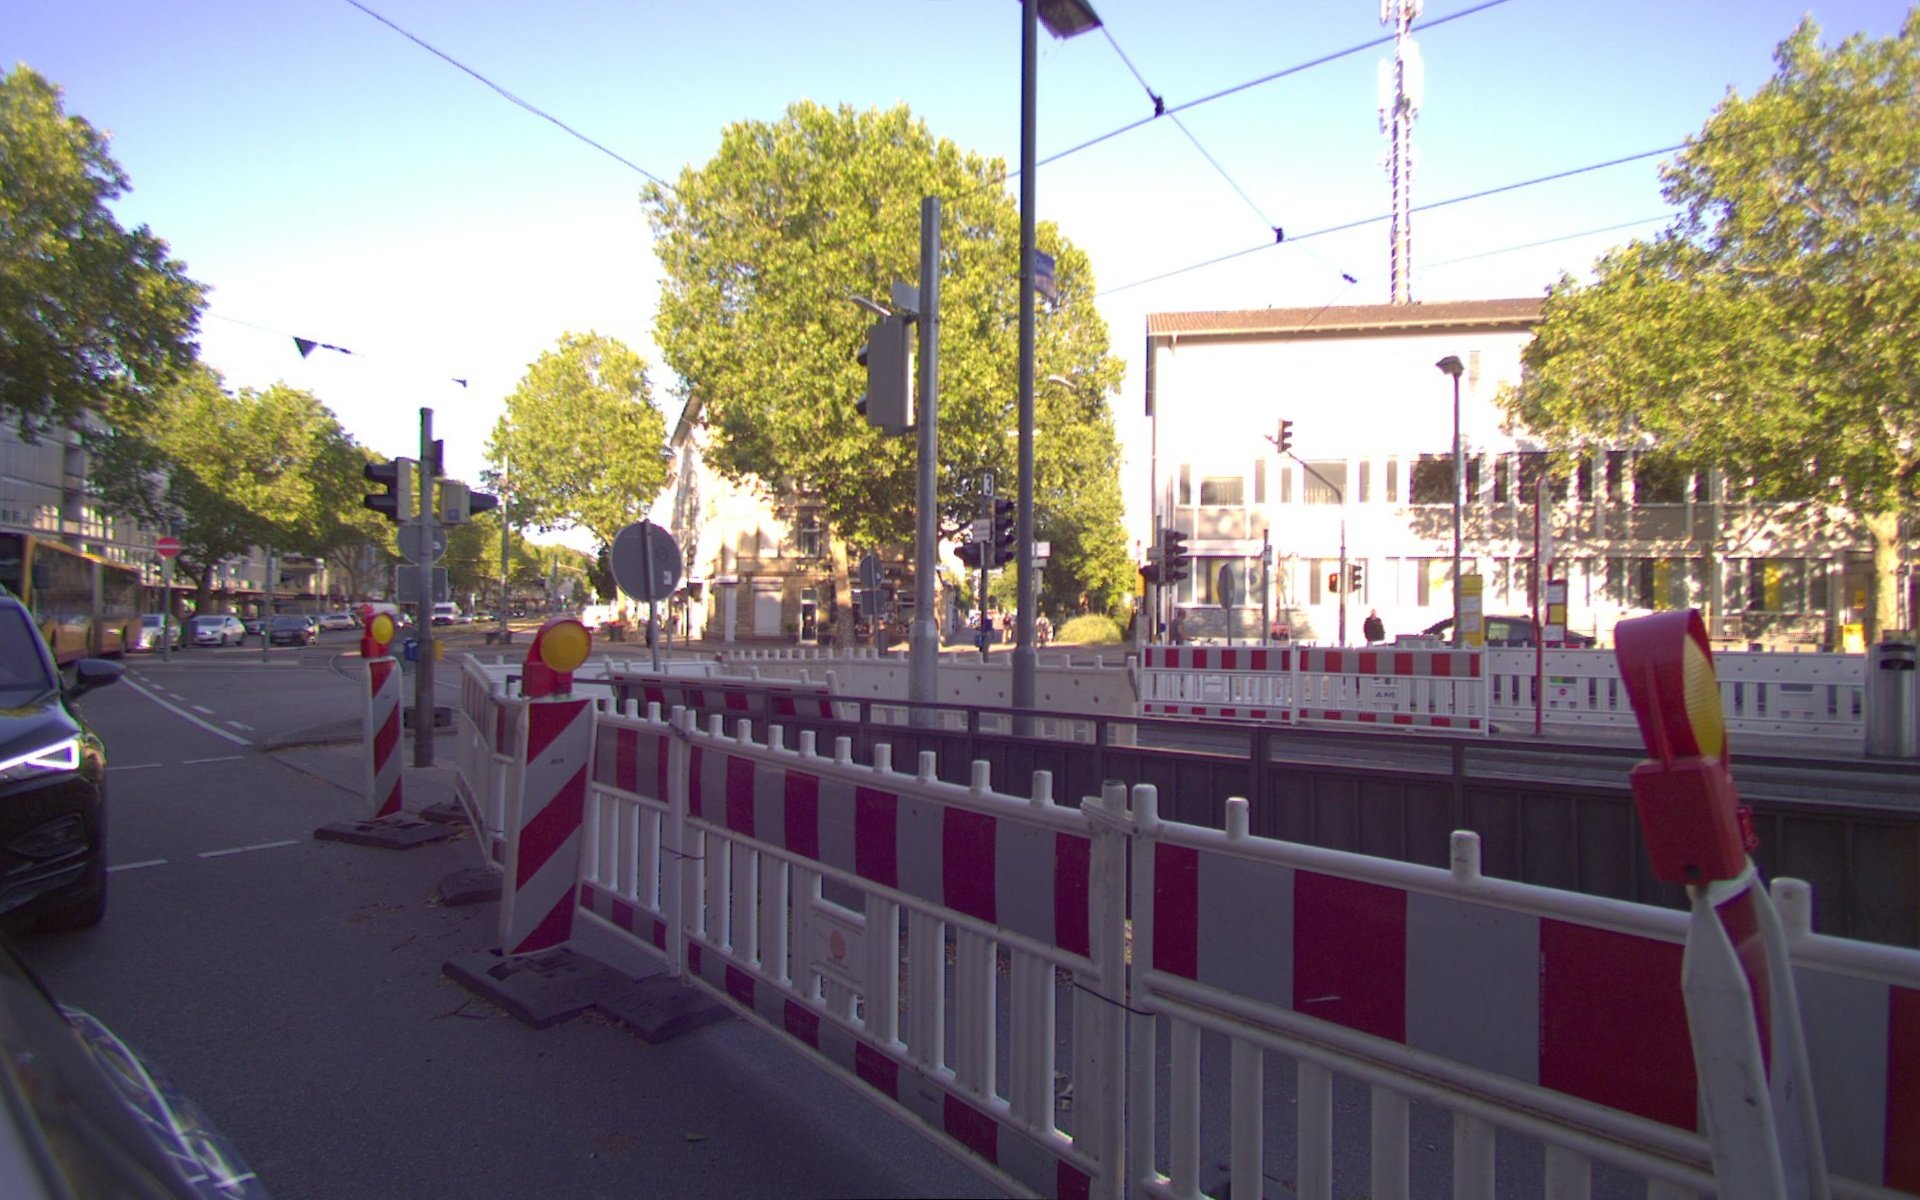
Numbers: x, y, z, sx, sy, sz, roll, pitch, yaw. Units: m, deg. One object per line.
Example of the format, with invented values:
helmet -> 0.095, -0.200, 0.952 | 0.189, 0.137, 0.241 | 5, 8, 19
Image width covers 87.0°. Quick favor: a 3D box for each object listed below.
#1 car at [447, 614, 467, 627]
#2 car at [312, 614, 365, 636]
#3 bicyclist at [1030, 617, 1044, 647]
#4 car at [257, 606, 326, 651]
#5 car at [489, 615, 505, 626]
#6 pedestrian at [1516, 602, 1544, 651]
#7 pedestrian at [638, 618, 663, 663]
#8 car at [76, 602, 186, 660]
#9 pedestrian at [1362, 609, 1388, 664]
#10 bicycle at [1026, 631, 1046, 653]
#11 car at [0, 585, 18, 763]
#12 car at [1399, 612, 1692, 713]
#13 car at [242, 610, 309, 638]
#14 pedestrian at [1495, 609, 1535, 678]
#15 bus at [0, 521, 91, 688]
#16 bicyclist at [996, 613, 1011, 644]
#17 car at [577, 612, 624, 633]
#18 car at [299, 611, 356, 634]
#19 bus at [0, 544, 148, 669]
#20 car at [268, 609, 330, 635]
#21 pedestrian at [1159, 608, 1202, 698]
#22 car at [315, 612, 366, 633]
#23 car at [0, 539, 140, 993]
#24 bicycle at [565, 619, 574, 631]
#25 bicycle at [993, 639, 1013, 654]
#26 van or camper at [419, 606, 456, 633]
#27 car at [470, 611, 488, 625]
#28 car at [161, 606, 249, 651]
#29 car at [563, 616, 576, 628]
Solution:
car -> -61.559, 2.514, 123.897 | 1.675, 1.481, 3.776 | 1, -2, -19
car -> -58.002, 2.365, 94.482 | 3.938, 2.029, 2.002 | 1, -2, -42
bicyclist -> 3.882, 1.615, 51.211 | 0.570, 1.538, 0.842 | 0, -1, 13
car -> -31.668, 1.336, 48.057 | 1.965, 2.029, 4.013 | 1, -1, -22
car -> -74.472, 3.308, 162.846 | 1.809, 1.816, 4.143 | 1, -2, -19
pedestrian -> 17.059, 0.787, 30.318 | 0.580, 1.466, 0.584 | 0, -1, 14
pedestrian -> -10.662, 1.390, 34.869 | 0.594, 1.545, 0.746 | 1, -2, -38
car -> -30.885, 1.139, 37.838 | 1.965, 2.029, 4.111 | 1, -1, -21
pedestrian -> 12.117, 1.056, 29.519 | 0.649, 1.564, 0.563 | -1, -2, 28
bicycle -> 3.870, 2.116, 51.253 | 0.671, 1.039, 2.180 | 0, -1, 13
car -> -11.012, 0.689, 10.070 | 4.073, 1.656, 1.973 | -1, -2, 41
car -> 10.897, 1.080, 19.001 | 4.552, 1.674, 1.974 | -1, -2, 38
car -> -50.621, 1.782, 74.914 | 3.932, 2.029, 2.006 | 1, -2, -31
pedestrian -> 15.143, 1.178, 27.637 | 0.923, 1.847, 0.693 | -1, -2, 28
bus -> -21.110, 0.137, 21.963 | 2.678, 3.130, 8.641 | 1, -2, -36
bicyclist -> 2.480, 1.631, 57.831 | 0.668, 1.741, 0.761 | 0, -2, 17
car -> -34.427, 2.165, 97.077 | 1.990, 2.029, 3.963 | 0, -2, 27
car -> -55.853, 2.005, 89.385 | 3.938, 2.029, 2.002 | 1, -2, -42
bus -> -25.965, 0.238, 29.242 | 2.676, 3.130, 8.622 | 1, -2, -31
car -> -53.914, 1.781, 82.602 | 3.938, 2.029, 2.002 | 1, -2, -42
pedestrian -> 4.399, 1.040, 20.216 | 0.545, 1.760, 0.693 | 1, -2, -24
car -> -60.261, 2.218, 98.515 | 3.938, 2.029, 2.002 | 1, -2, -42
car -> -5.463, 0.639, 4.769 | 3.998, 1.719, 1.818 | -1, -2, 41
bicycle -> -41.010, 2.603, 106.262 | 0.837, 1.202, 2.474 | 1, -1, -21
bicycle -> 2.463, 2.640, 57.745 | 0.676, 0.788, 1.979 | 0, -1, 17
van or camper -> -55.098, 2.092, 106.784 | 2.385, 2.739, 6.151 | 1, -1, -18
car -> -66.502, 2.522, 139.952 | 1.809, 1.816, 4.143 | 1, -2, -19
car -> -34.932, 1.312, 46.947 | 1.966, 2.029, 4.012 | 1, -1, -17
car -> -69.012, 3.880, 178.880 | 1.965, 2.029, 4.013 | 1, -1, -20
